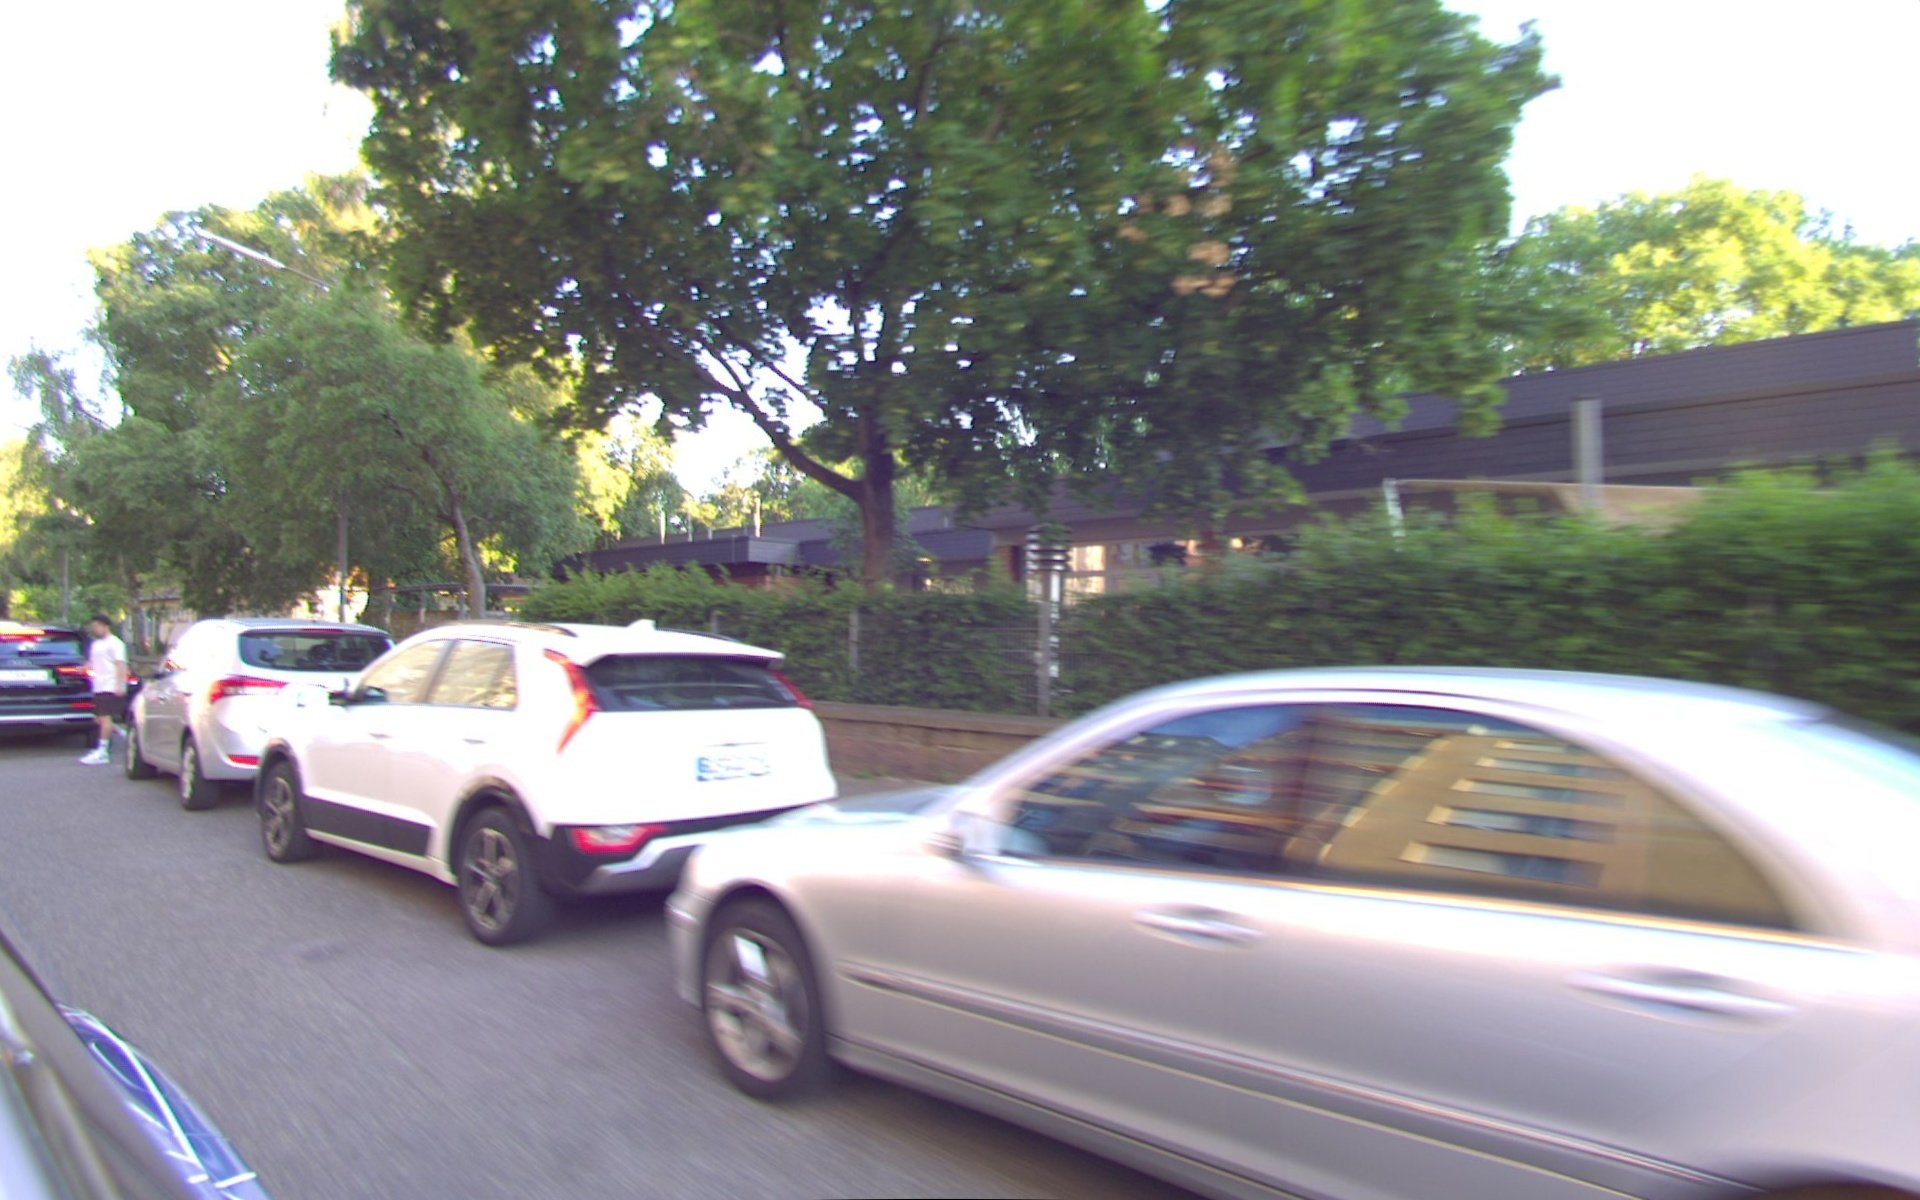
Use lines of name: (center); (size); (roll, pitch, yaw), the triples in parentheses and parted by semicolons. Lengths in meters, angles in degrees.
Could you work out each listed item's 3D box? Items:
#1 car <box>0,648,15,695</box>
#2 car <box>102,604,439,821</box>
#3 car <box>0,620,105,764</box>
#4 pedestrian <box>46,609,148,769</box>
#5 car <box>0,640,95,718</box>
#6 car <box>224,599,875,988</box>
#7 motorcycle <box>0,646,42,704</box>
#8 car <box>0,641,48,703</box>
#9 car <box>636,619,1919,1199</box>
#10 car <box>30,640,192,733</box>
car: (-28.246, 1.999, 28.632); (3.802, 1.297, 1.716); (-2, -4, 40)
car: (-6.714, 0.955, 9.697); (3.979, 1.644, 1.715); (-2, -4, 42)
car: (-12.343, 1.130, 13.157); (1.712, 1.644, 4.130); (3, -4, -42)
pedestrian: (-9.736, 0.975, 11.422); (0.557, 1.715, 0.739); (-2, 0, 37)
car: (-19.096, 1.563, 20.585); (3.803, 1.457, 1.715); (-2, -4, 41)
car: (-2.672, 0.875, 6.105); (4.275, 1.555, 1.742); (-2, -4, 38)
motorcycle: (-21.873, 1.702, 22.903); (0.785, 1.268, 1.575); (-2, -2, 44)
car: (-24.067, 1.748, 25.012); (3.802, 1.436, 1.716); (-2, -4, 40)
car: (1.116, 0.817, 2.772); (4.281, 1.438, 1.716); (-2, -4, 38)
car: (-14.710, 1.433, 17.492); (3.414, 1.436, 1.602); (-2, -4, 41)
